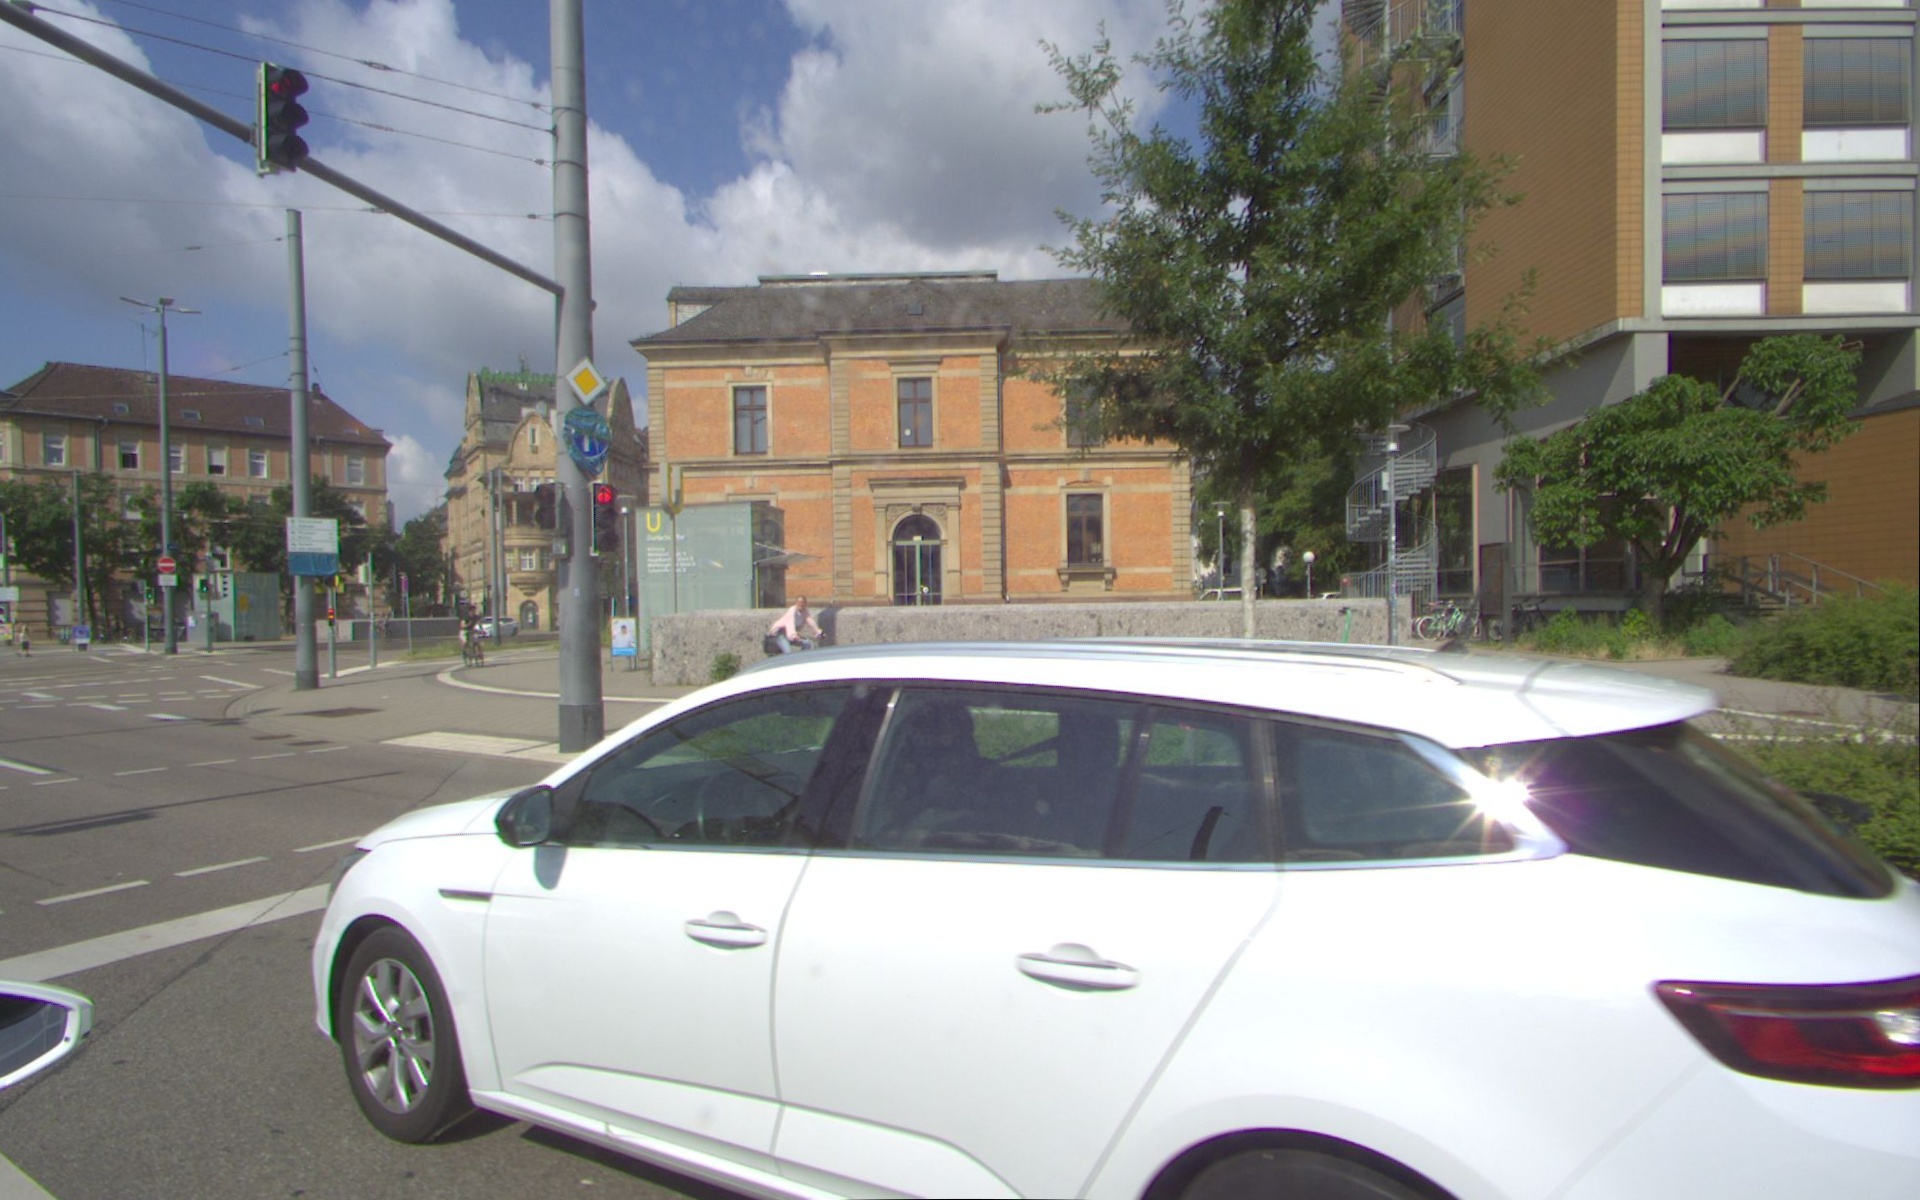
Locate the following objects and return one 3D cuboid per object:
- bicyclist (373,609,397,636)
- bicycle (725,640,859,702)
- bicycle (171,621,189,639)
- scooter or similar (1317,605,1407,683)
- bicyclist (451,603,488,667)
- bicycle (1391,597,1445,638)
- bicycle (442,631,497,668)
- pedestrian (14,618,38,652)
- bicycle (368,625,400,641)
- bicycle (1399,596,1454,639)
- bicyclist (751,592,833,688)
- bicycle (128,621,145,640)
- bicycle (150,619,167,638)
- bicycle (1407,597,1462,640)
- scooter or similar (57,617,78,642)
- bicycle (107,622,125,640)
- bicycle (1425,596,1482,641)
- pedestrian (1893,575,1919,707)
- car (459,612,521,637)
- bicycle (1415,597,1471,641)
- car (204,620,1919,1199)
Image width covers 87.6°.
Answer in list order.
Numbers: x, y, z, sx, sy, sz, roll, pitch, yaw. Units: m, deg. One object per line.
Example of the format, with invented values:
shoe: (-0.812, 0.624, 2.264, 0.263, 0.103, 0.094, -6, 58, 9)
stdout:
bicyclist: (-37.082, 1.464, 64.588, 0.605, 1.696, 1.145, -1, 0, 22)
bicycle: (-2.713, 1.108, 16.071, 2.243, 0.909, 0.650, -1, 0, 32)
bicycle: (-52.075, 2.009, 66.863, 0.753, 1.181, 2.660, -1, 0, -42)
scooter or similar: (6.652, 0.699, 16.647, 0.427, 1.199, 1.532, -1, 2, -22)
bicyclist: (-13.504, 0.951, 27.567, 0.927, 1.694, 0.574, 0, 2, 44)
bicycle: (14.189, 0.545, 31.046, 1.446, 1.264, 0.428, -1, 0, 1)
bicycle: (-13.498, 1.345, 27.518, 1.790, 0.887, 0.754, 0, 3, 44)
pedestrian: (-42.870, 1.588, 45.978, 0.733, 1.536, 0.541, -1, 0, -36)
bicycle: (-37.167, 2.106, 64.626, 0.830, 0.968, 1.778, -2, 0, 8)
bicycle: (14.221, 0.537, 30.538, 1.446, 1.264, 0.428, -1, 0, 1)
bicyclist: (-2.704, 0.625, 16.073, 1.153, 1.477, 0.633, -1, 0, 31)
bicycle: (-53.829, 1.993, 65.414, 0.753, 1.181, 2.660, 1, -1, -42)
bicycle: (-52.903, 1.906, 66.116, 0.753, 1.180, 2.662, 1, -3, -41)
bicycle: (14.233, 0.563, 30.044, 1.446, 1.264, 0.428, -1, 0, 1)
scooter or similar: (-55.840, 1.844, 62.644, 0.872, 1.502, 1.995, -1, 0, -44)
bicycle: (-54.663, 2.000, 64.843, 0.753, 1.181, 2.660, -1, 0, -42)
bicycle: (14.289, 0.532, 29.012, 1.446, 1.264, 0.428, -1, 0, 1)
pedestrian: (12.102, 0.495, 12.102, 0.755, 1.599, 0.956, -1, 0, -15)
car: (-32.113, 1.705, 68.592, 1.919, 1.616, 4.509, -1, -2, 4)
bicycle: (14.247, 0.554, 29.542, 1.446, 1.264, 0.428, -1, 0, 1)
car: (-0.135, 0.835, 2.976, 4.606, 1.447, 1.756, -2, -2, 30)
